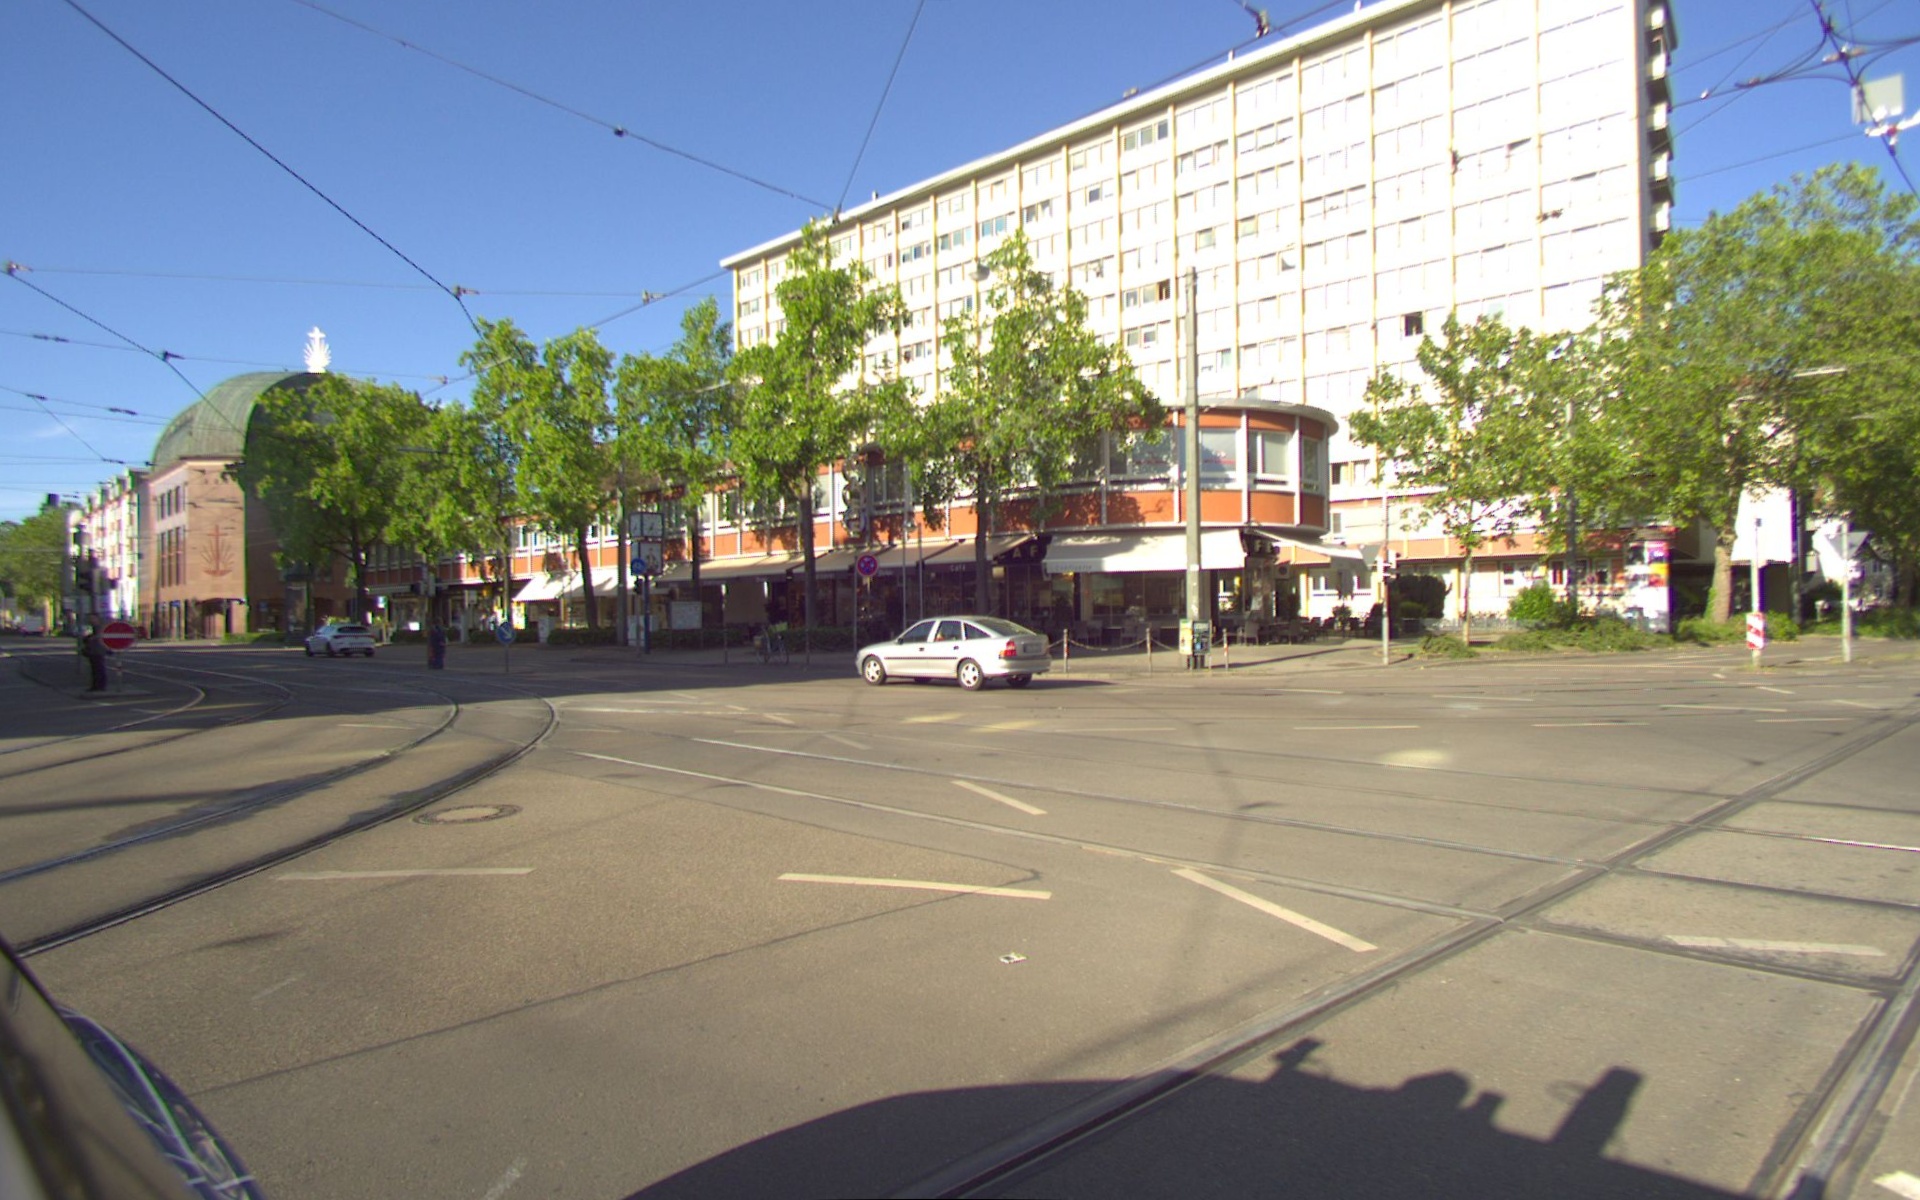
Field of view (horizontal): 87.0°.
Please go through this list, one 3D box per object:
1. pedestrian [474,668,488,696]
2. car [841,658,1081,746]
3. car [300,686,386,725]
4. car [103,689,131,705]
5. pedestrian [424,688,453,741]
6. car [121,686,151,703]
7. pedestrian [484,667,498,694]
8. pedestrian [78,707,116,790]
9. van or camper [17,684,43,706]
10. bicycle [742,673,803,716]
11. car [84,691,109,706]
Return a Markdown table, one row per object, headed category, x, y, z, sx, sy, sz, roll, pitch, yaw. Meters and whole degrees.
| category | x | y | z | sx | sy | sz | roll | pitch | yaw |
| --- | --- | --- | --- | --- | --- | --- | --- | --- | --- |
| pedestrian | -31.087 | 5.317 | 65.665 | 0.706 | 1.785 | 0.566 | -5 | -3 | 44 |
| car | -0.080 | 2.024 | 20.417 | 4.648 | 1.462 | 1.972 | -5 | -3 | 42 |
| car | -27.145 | 4.602 | 44.456 | 4.500 | 1.462 | 1.972 | -5 | -3 | 42 |
| car | -89.976 | 10.358 | 108.035 | 3.853 | 1.465 | 1.831 | -5 | -2 | 43 |
| pedestrian | -15.476 | 3.383 | 30.011 | 0.859 | 1.529 | 0.494 | -5 | -4 | 43 |
| car | -82.758 | 9.471 | 101.617 | 3.470 | 1.465 | 1.730 | -5 | -2 | 42 |
| pedestrian | -30.622 | 5.256 | 66.118 | 0.706 | 1.763 | 0.566 | -5 | -3 | 44 |
| pedestrian | -19.535 | 3.346 | 22.900 | 0.895 | 1.777 | 0.552 | -5 | -4 | 43 |
| van or camper | -122.214 | 12.453 | 132.905 | 7.020 | 2.760 | 2.014 | -5 | -3 | 43 |
| bicycle | -5.566 | 2.798 | 29.949 | 2.234 | 1.195 | 0.492 | -5 | -3 | 42 |
| car | -101.777 | 11.585 | 119.225 | 3.853 | 1.465 | 1.831 | -5 | -2 | 43 |
